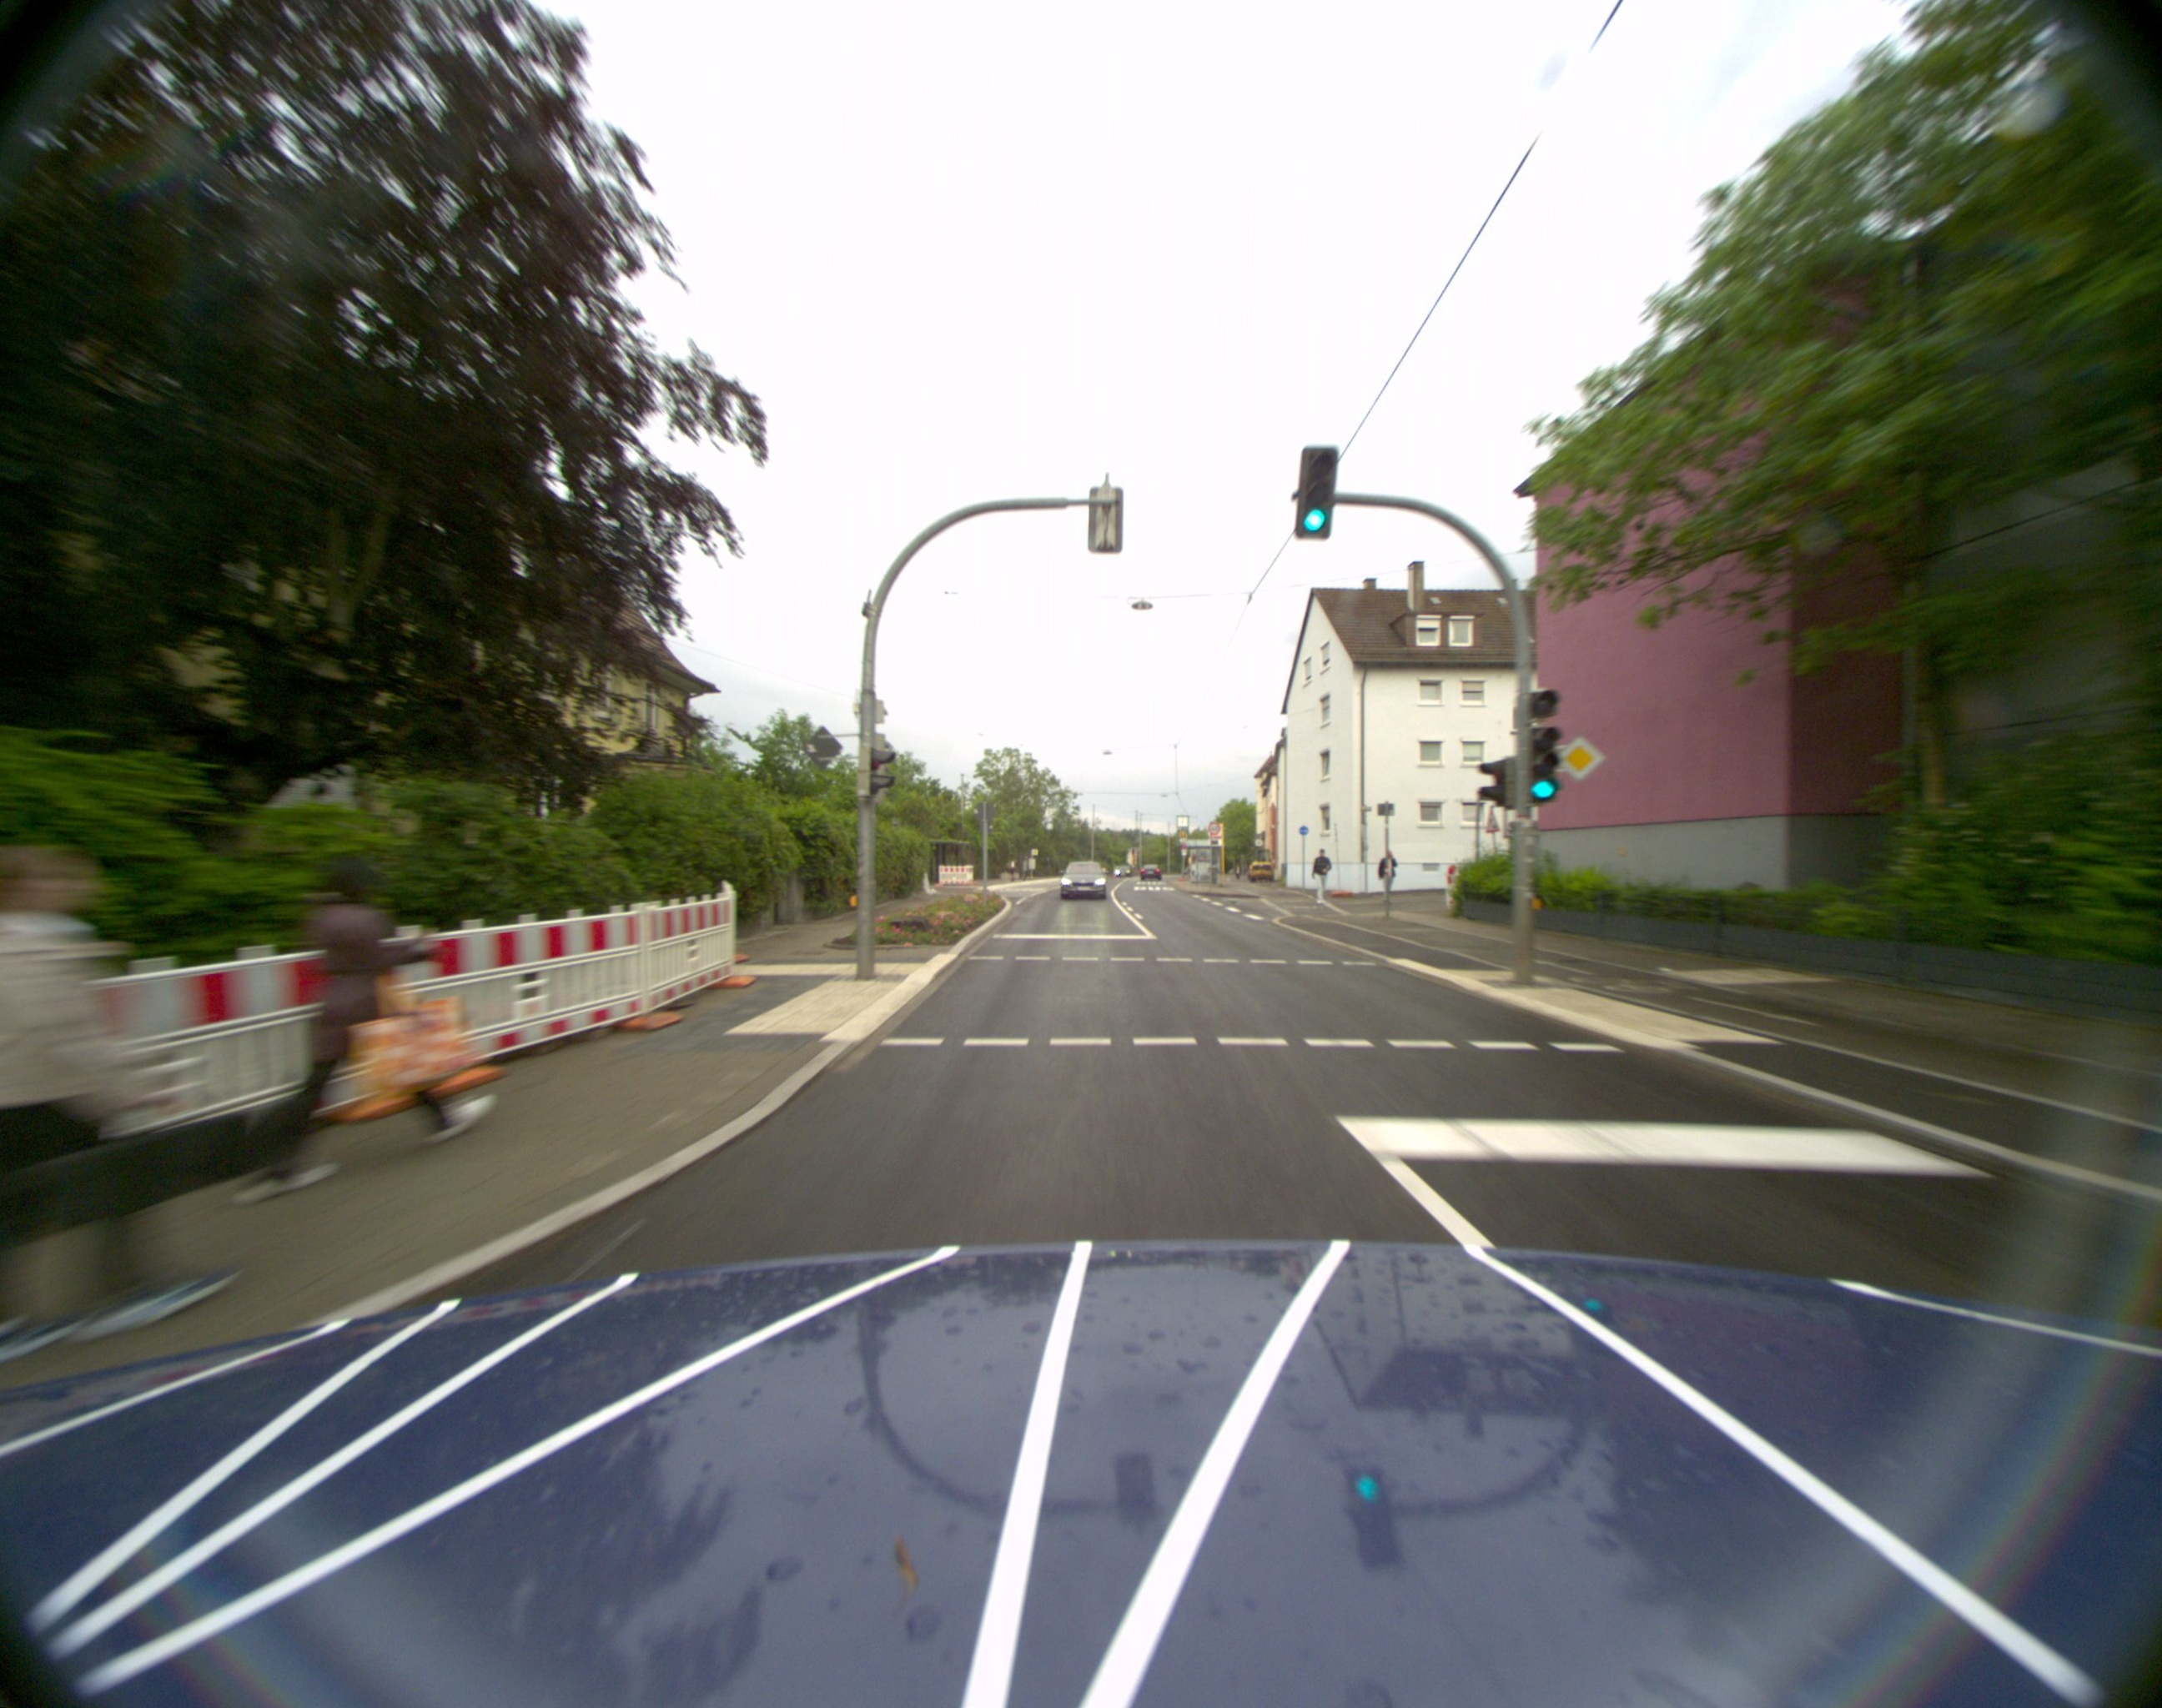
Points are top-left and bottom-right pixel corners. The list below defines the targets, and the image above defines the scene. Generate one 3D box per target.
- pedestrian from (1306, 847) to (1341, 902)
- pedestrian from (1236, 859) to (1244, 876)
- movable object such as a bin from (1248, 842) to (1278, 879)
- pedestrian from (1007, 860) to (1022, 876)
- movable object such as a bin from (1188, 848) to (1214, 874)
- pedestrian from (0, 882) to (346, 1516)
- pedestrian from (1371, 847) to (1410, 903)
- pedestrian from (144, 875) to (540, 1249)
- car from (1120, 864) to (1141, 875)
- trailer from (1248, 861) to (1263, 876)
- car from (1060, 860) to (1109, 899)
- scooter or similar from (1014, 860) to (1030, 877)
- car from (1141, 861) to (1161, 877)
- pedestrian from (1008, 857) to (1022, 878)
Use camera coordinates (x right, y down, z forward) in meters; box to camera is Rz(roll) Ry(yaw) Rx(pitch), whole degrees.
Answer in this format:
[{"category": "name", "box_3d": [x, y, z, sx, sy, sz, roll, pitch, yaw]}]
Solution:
[{"category": "pedestrian", "box_3d": [8.431, 0.712, 26.483, 0.864, 1.871, 1.044, 0, 0, -1]}, {"category": "pedestrian", "box_3d": [14.872, 1.267, 71.050, 0.603, 1.519, 1.039, -2, -1, 11]}, {"category": "movable object such as a bin", "box_3d": [14.709, 0.531, 61.183, 2.132, 2.789, 4.985, -2, -1, 14]}, {"category": "pedestrian", "box_3d": [-5.772, 1.192, 66.006, 1.070, 1.322, 0.808, 0, 0, -32]}, {"category": "movable object such as a bin", "box_3d": [14.707, 0.849, 93.155, 2.828, 3.094, 4.639, 0, -1, 13]}, {"category": "pedestrian", "box_3d": [-3.253, 0.942, 2.286, 0.785, 1.632, 1.222, -1, 1, 4]}, {"category": "pedestrian", "box_3d": [10.391, 0.708, 25.514, 0.808, 1.810, 1.116, -1, -1, 0]}, {"category": "pedestrian", "box_3d": [-3.584, 0.913, 3.810, 0.876, 1.552, 1.049, -1, 1, 9]}, {"category": "car", "box_3d": [6.064, 1.843, 92.972, 1.604, 1.294, 3.719, -1, -2, 18]}, {"category": "trailer", "box_3d": [16.740, 1.360, 72.826, 1.326, 1.390, 4.000, -1, -1, 13]}, {"category": "car", "box_3d": [0.160, 1.000, 30.680, 1.837, 1.429, 4.001, -1, -1, 1]}, {"category": "scooter or similar", "box_3d": [-4.393, 1.090, 56.905, 1.245, 1.307, 0.231, 0, 0, -35]}, {"category": "car", "box_3d": [6.567, 1.352, 71.305, 1.787, 1.444, 4.392, 0, 0, 6]}, {"category": "pedestrian", "box_3d": [-4.937, 1.005, 56.847, 0.922, 1.537, 0.543, 0, 0, -32]}]
